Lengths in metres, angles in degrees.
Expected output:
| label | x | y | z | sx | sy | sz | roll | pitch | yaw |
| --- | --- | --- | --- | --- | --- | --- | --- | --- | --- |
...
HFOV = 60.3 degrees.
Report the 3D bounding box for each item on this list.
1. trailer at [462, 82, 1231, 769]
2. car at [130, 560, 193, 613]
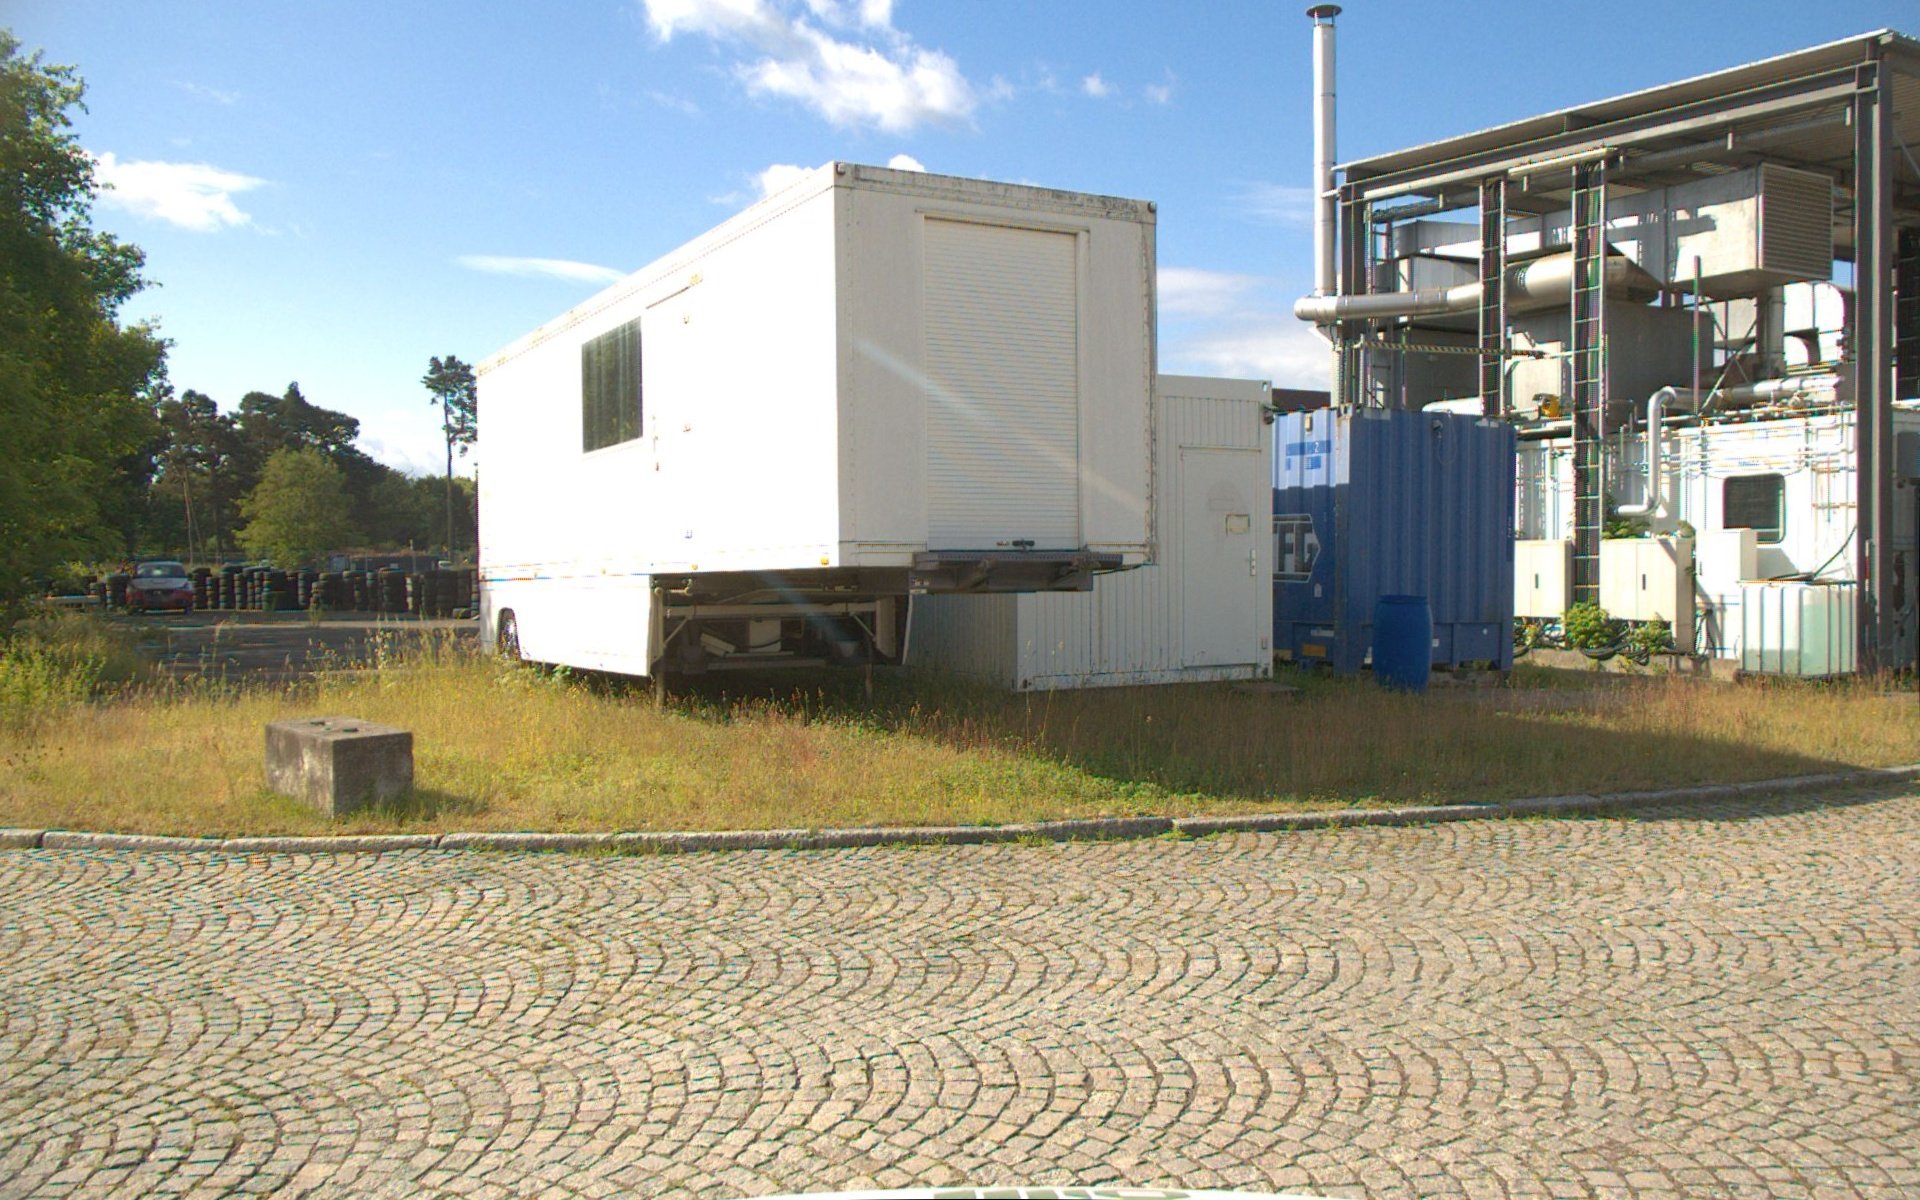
| label | x | y | z | sx | sy | sz | roll | pitch | yaw |
| --- | --- | --- | --- | --- | --- | --- | --- | --- | --- |
| trailer | -1.968 | -1.129 | 15.015 | 2.741 | 3.979 | 10.783 | -1 | 2 | -28 |
| car | -22.547 | -0.408 | 46.806 | 1.521 | 1.431 | 3.549 | -1 | 1 | -25 |
